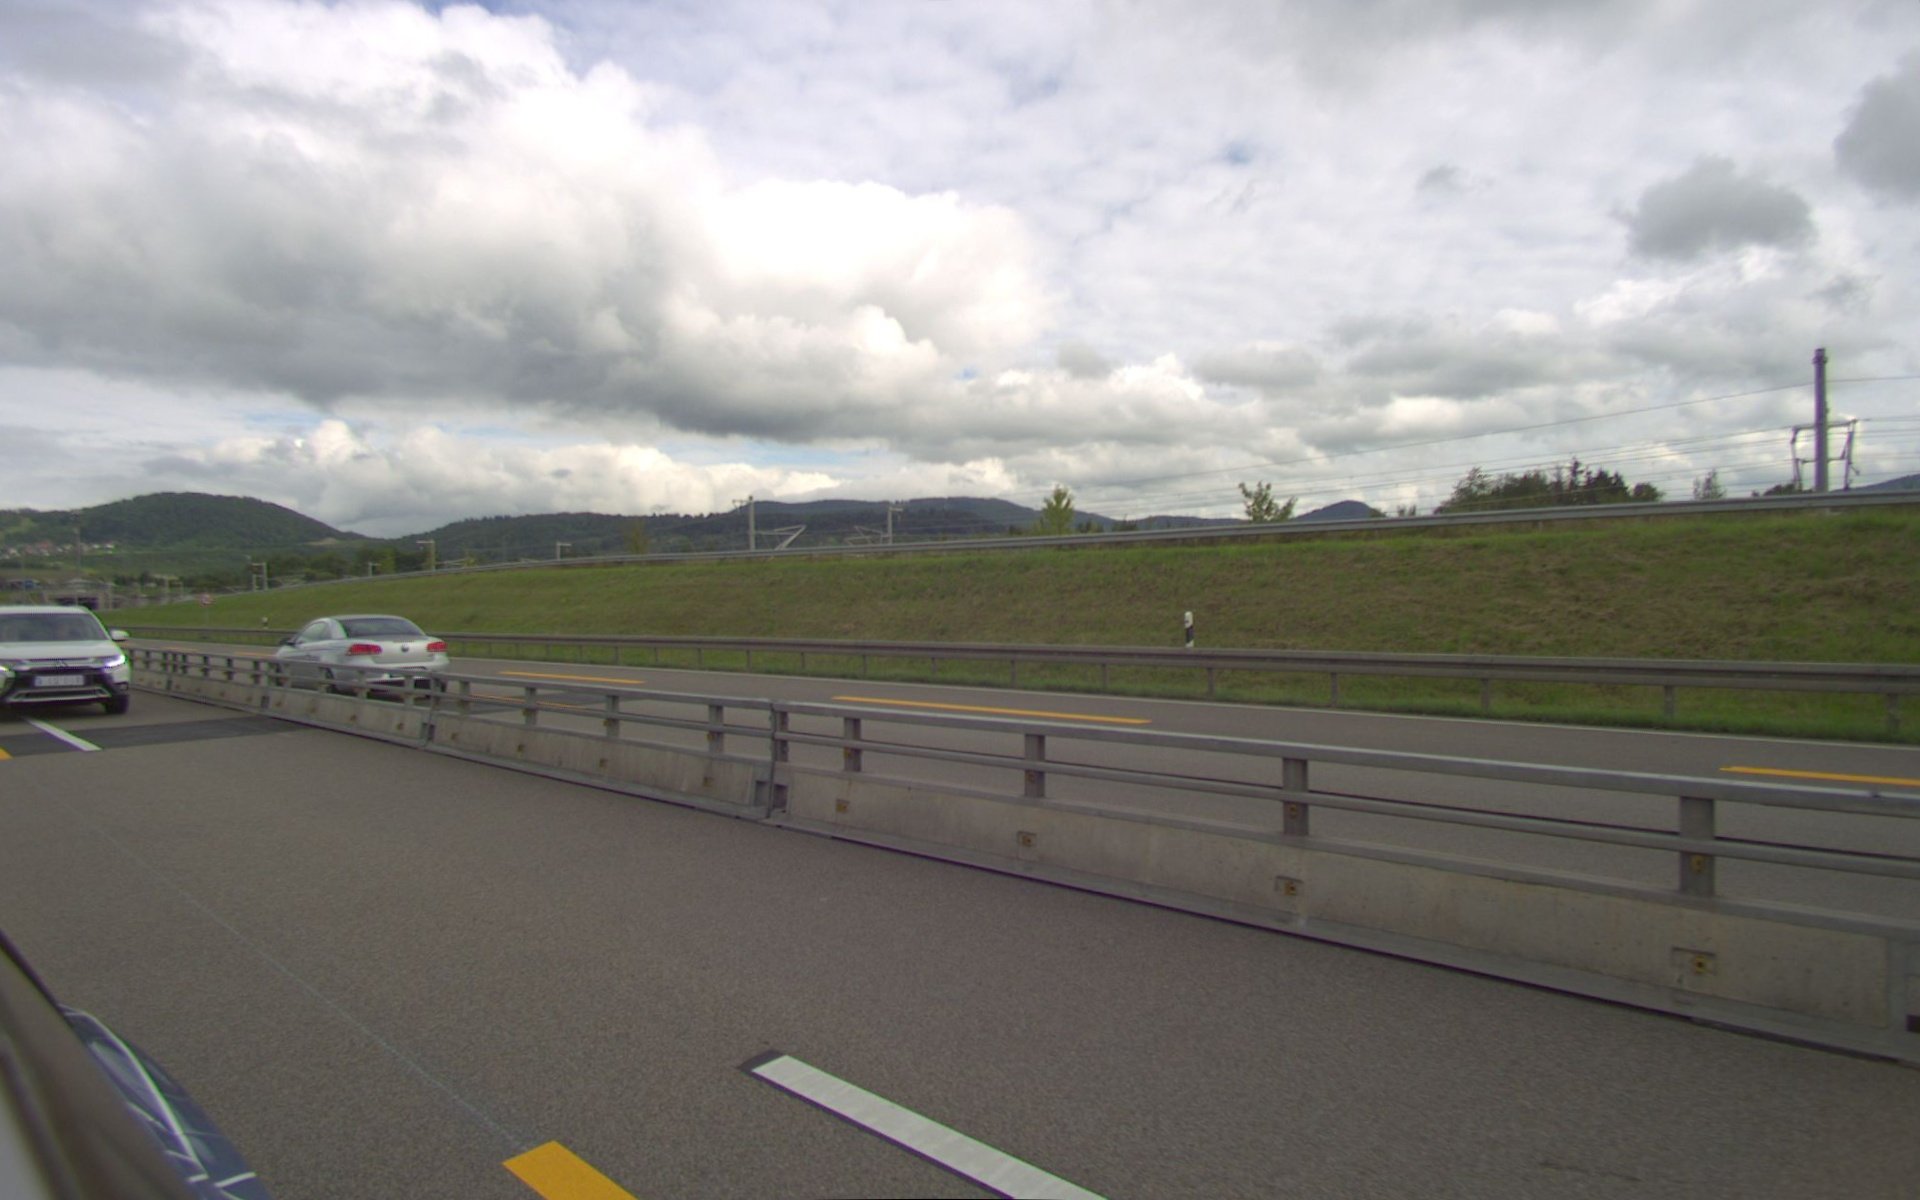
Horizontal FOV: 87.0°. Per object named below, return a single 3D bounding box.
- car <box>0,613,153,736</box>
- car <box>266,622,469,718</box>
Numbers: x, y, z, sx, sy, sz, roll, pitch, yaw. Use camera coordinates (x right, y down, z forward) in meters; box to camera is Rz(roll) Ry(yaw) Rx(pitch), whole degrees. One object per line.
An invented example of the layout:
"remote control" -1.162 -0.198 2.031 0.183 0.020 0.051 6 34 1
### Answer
"car" -14.099 1.046 15.535 4.606 1.640 1.972 -1 -1 42
"car" -10.052 1.096 17.059 3.997 1.398 1.739 -1 -1 40
